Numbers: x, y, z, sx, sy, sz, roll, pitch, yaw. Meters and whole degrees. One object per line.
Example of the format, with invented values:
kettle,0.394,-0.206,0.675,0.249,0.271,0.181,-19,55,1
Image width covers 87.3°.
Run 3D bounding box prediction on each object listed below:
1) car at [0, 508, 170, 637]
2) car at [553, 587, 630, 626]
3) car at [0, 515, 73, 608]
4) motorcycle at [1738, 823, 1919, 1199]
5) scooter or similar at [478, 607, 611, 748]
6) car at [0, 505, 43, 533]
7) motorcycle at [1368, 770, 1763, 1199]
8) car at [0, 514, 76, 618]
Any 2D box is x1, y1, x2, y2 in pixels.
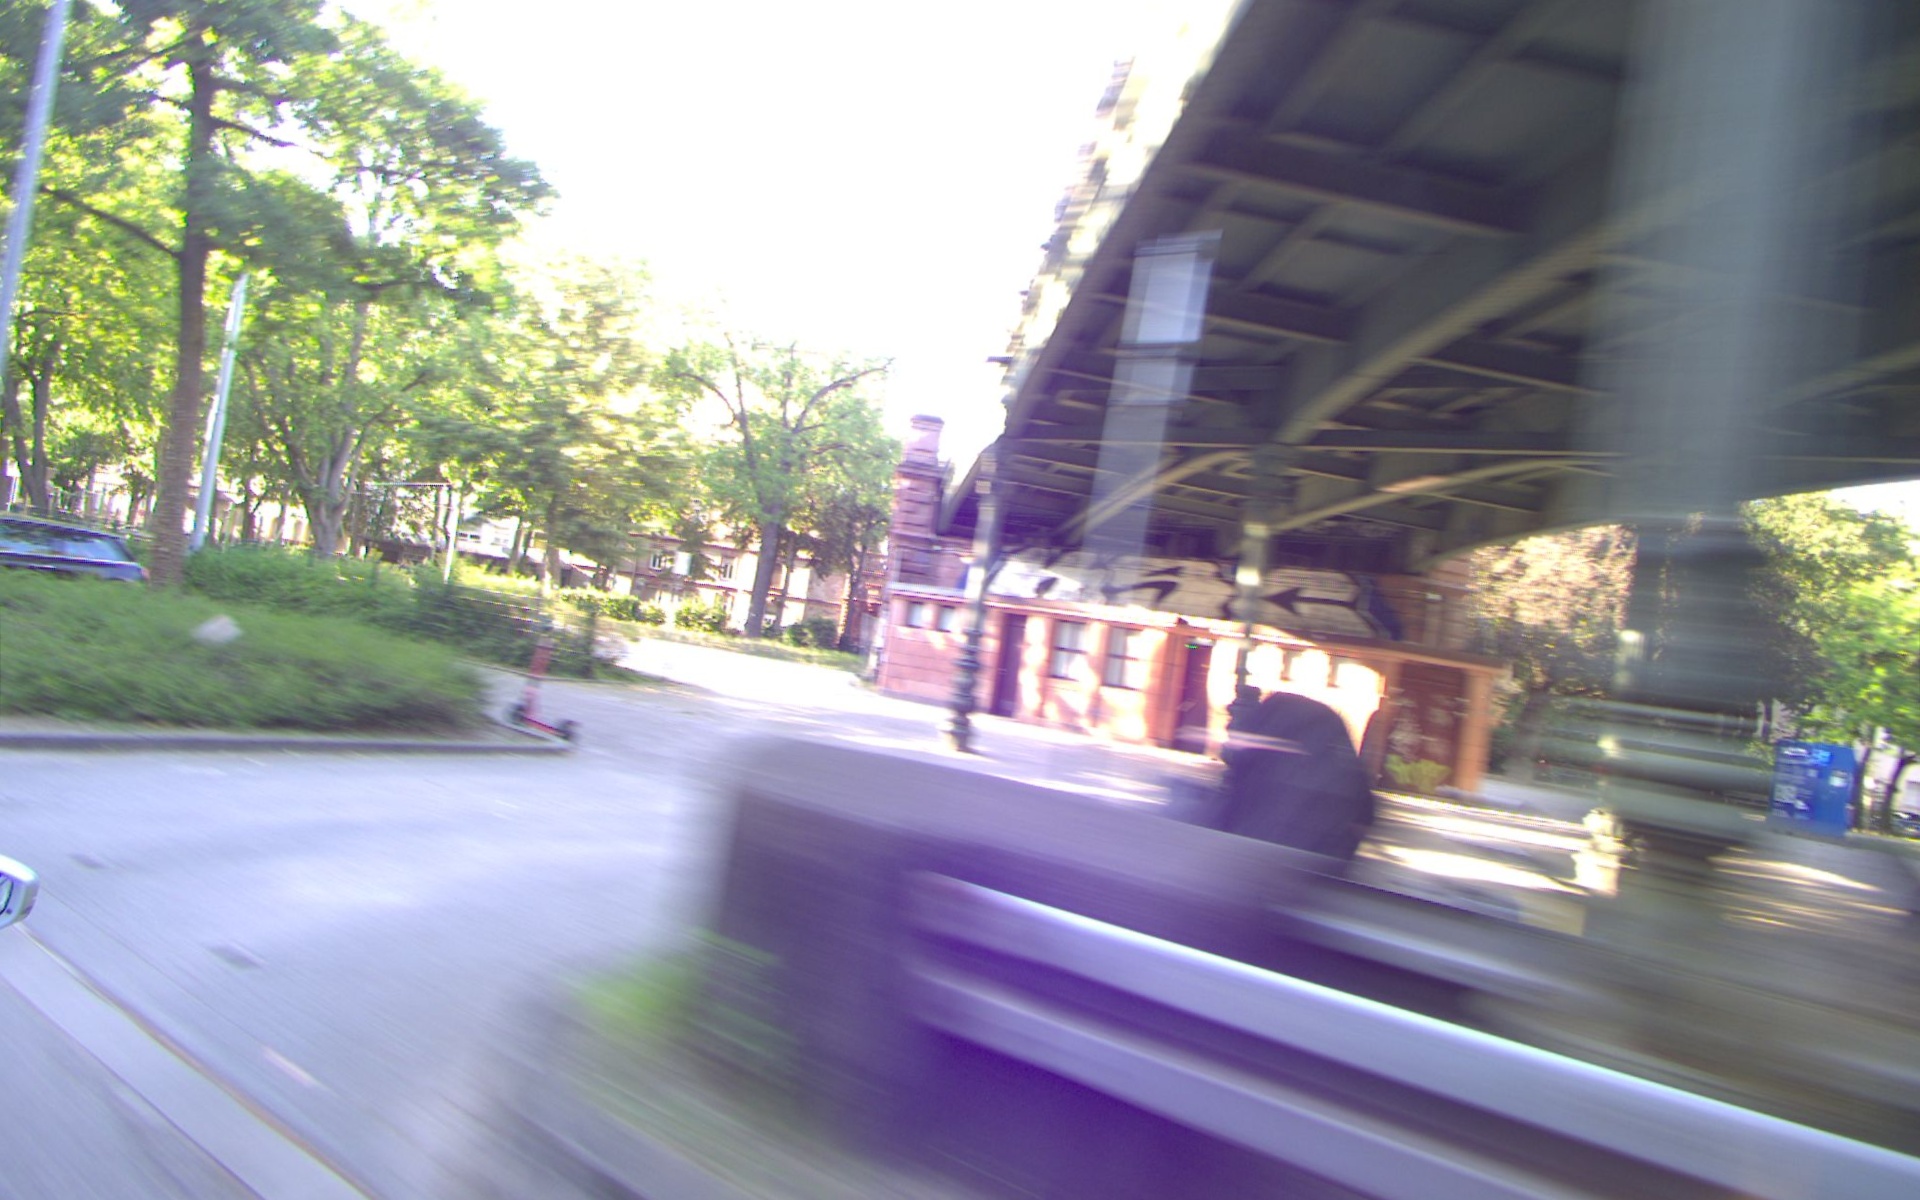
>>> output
car,-12.856,-0.484,12.952,1.606,1.488,3.795,6,-3,26
car,-26.508,0.461,72.434,4.648,2.034,2.005,7,-4,10
car,-16.640,-0.834,15.686,1.636,1.417,3.793,5,-4,30
motorcycle,3.151,1.509,3.214,1.595,1.422,0.705,11,-5,-40
scooter or similar,-4.377,0.799,10.576,1.304,1.311,0.478,5,-4,33
car,-76.322,-6.684,80.004,4.680,1.701,1.982,11,-6,-37
motorcycle,2.323,1.443,3.768,1.595,1.422,0.705,11,-5,-40
car,-15.199,-0.718,14.069,1.797,1.417,3.791,5,-4,31
